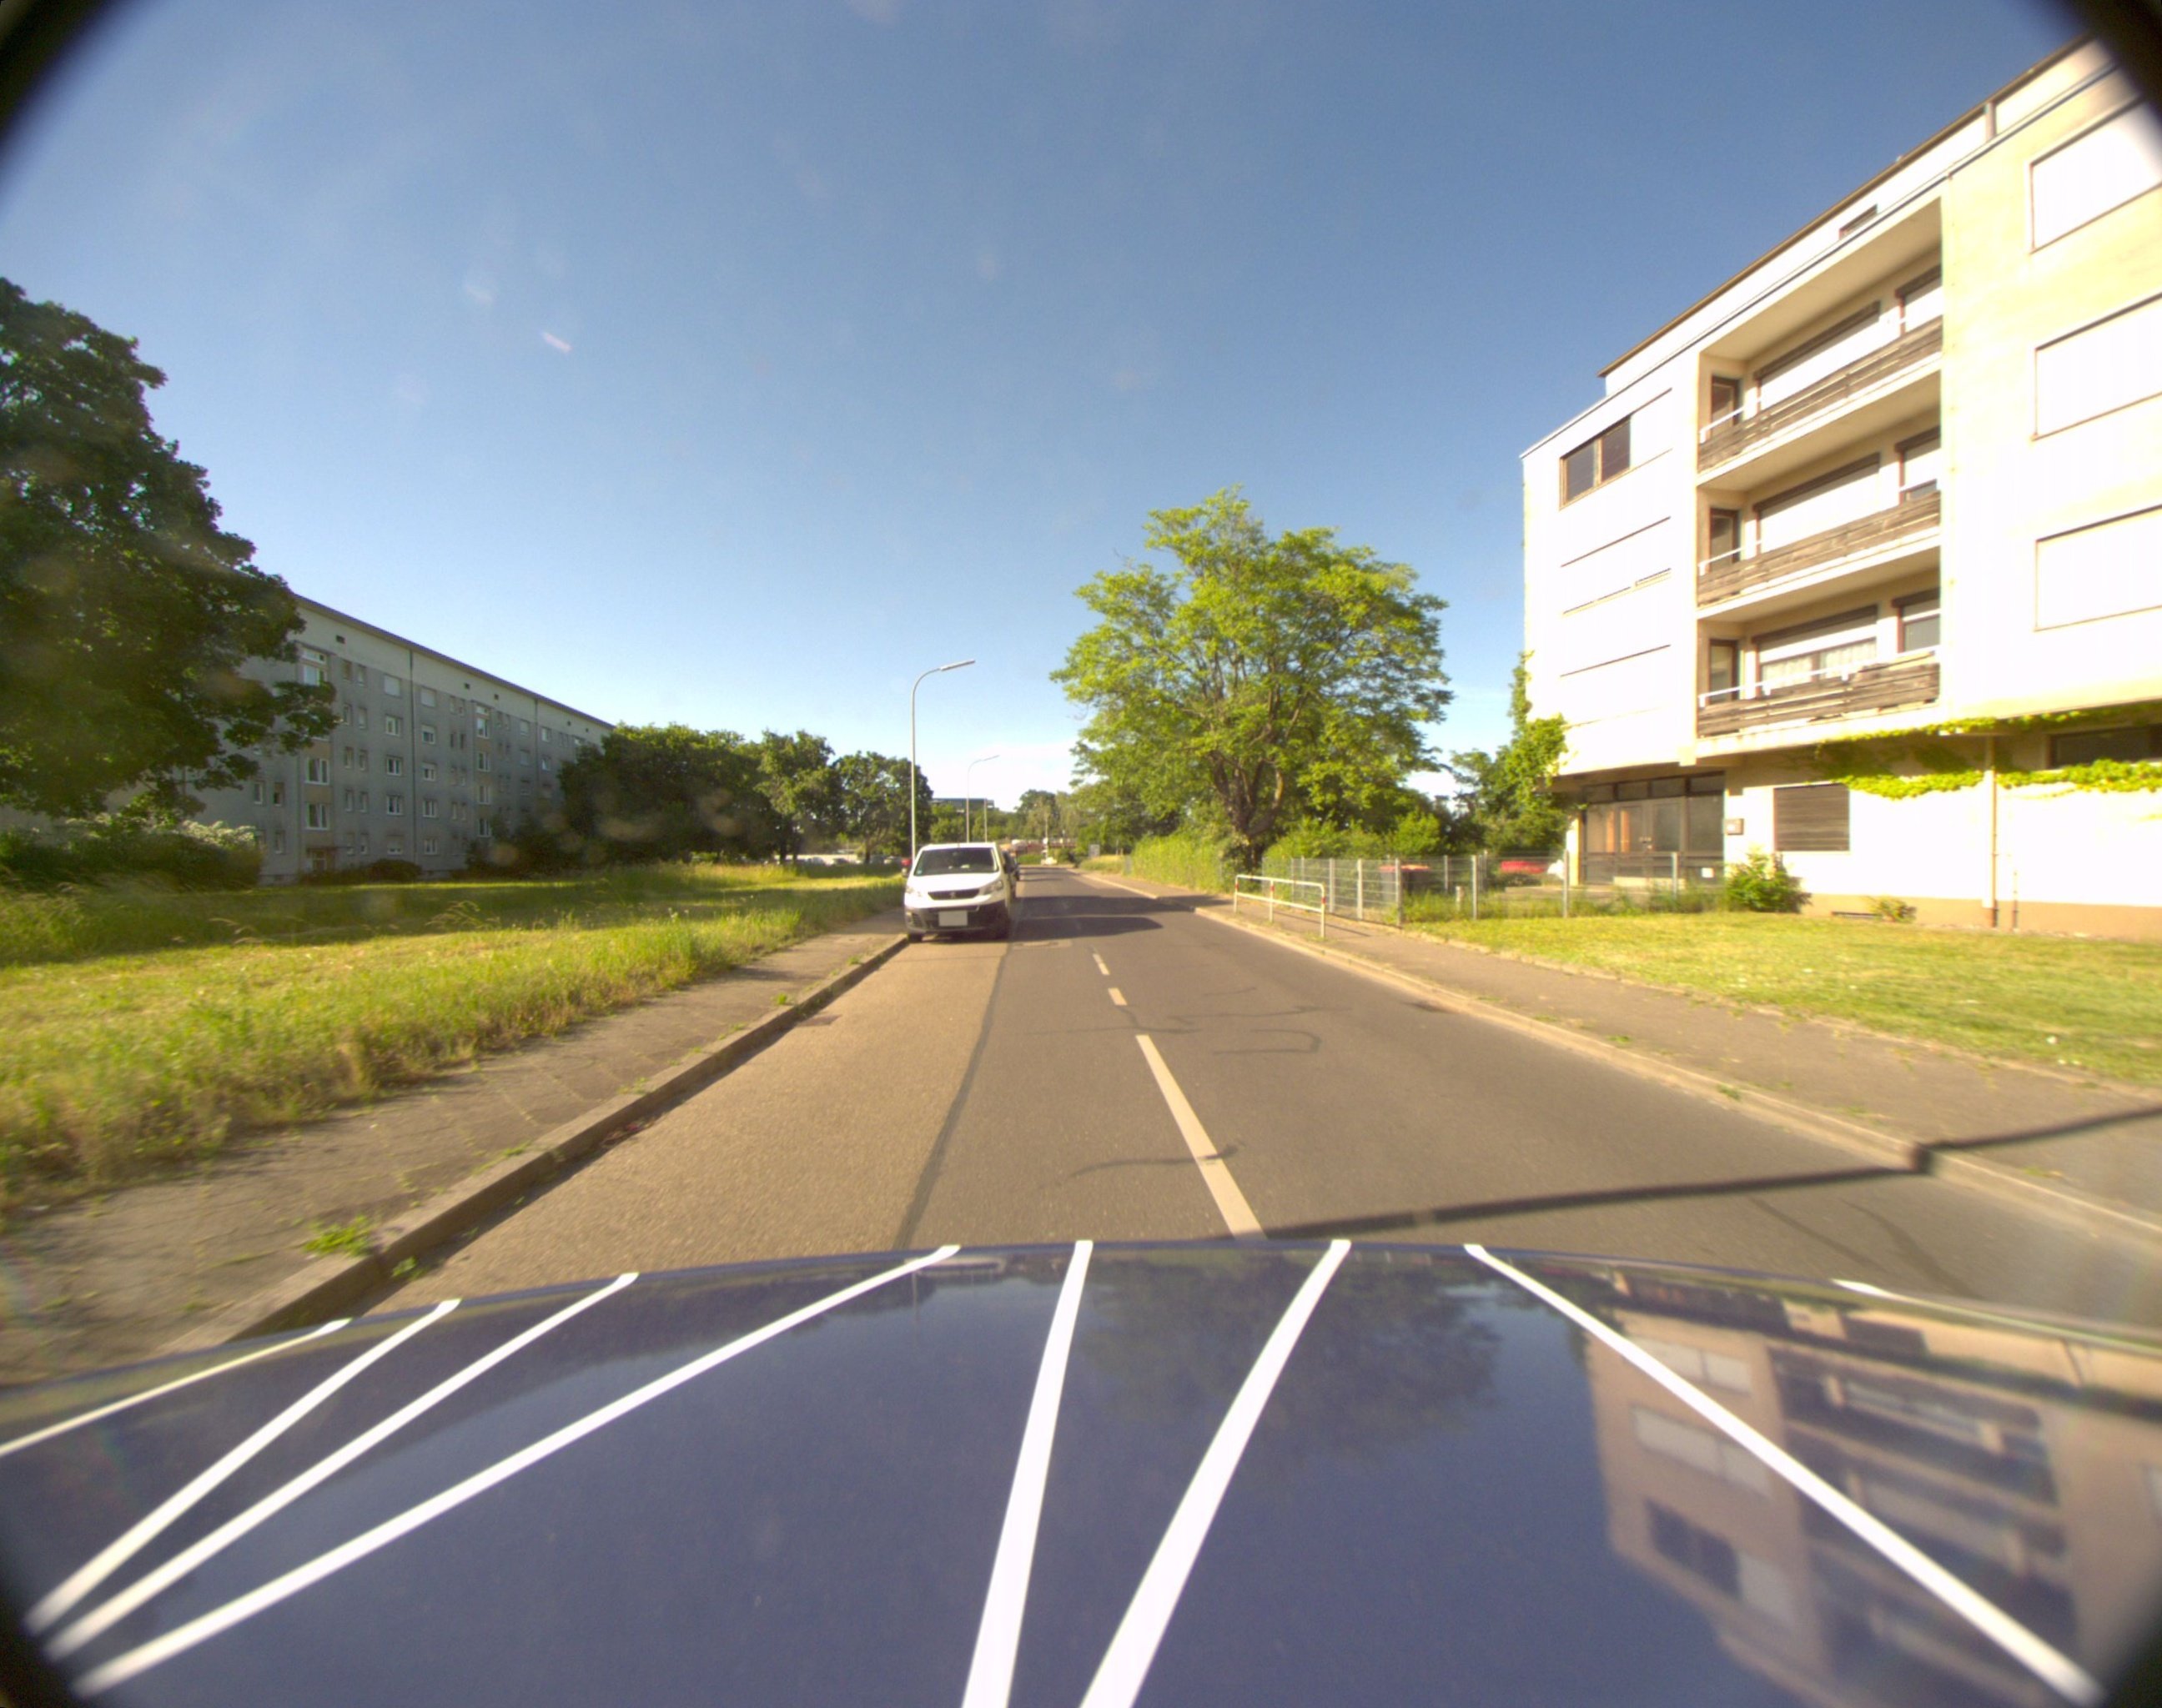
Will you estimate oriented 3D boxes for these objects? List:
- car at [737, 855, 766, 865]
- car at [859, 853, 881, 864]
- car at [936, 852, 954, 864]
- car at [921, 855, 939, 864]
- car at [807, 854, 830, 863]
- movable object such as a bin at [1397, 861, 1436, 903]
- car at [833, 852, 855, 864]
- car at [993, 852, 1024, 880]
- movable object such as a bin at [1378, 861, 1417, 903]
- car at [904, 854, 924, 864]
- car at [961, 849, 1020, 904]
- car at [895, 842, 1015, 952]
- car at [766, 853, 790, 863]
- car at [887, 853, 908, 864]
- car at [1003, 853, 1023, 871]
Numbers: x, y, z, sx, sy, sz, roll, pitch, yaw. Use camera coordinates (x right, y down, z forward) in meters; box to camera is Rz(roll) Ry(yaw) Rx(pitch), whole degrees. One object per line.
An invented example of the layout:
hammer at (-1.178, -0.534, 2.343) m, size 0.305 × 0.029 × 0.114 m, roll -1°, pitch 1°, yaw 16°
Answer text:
car at (-50.750, 0.944, 117.115) m, size 3.633 × 1.442 × 2.002 m, roll 0°, pitch 0°, yaw 13°
car at (-34.578, 0.699, 124.471) m, size 1.954 × 1.763 × 4.003 m, roll 0°, pitch 0°, yaw 9°
car at (-21.920, 0.644, 122.316) m, size 1.955 × 1.849 × 4.001 m, roll 0°, pitch 0°, yaw 4°
car at (-24.301, 0.865, 122.487) m, size 1.779 × 1.316 × 4.002 m, roll 0°, pitch 0°, yaw 6°
car at (-43.668, 0.732, 126.509) m, size 1.954 × 1.552 × 4.003 m, roll 0°, pitch 0°, yaw 9°
movable object such as a bin at (8.377, 0.690, 18.982) m, size 0.623 × 1.018 × 0.710 m, roll 0°, pitch 1°, yaw -8°
car at (-39.190, 0.665, 125.723) m, size 1.954 × 1.763 × 4.002 m, roll 0°, pitch 2°, yaw 9°
car at (-4.639, 0.726, 48.433) m, size 1.844 × 1.642 × 4.466 m, roll -2°, pitch 0°, yaw -7°
movable object such as a bin at (7.865, 0.688, 18.894) m, size 0.623 × 1.018 × 0.710 m, roll 0°, pitch 1°, yaw -8°
car at (-27.052, 0.817, 123.388) m, size 1.862 × 1.461 × 4.003 m, roll 0°, pitch 0°, yaw 9°
car at (-3.075, 0.713, 26.528) m, size 1.702 × 1.720 × 4.082 m, roll -2°, pitch 0°, yaw -2°
car at (-2.425, 0.738, 15.788) m, size 1.921 × 1.861 × 4.863 m, roll -2°, pitch 0°, yaw -4°
car at (-51.015, 0.692, 128.191) m, size 1.954 × 1.552 × 4.003 m, roll 0°, pitch 0°, yaw 9°
car at (-29.620, 0.698, 122.927) m, size 1.859 × 1.763 × 4.003 m, roll 0°, pitch 0°, yaw 9°
car at (-6.144, 0.704, 68.658) m, size 1.656 × 1.471 × 3.915 m, roll -2°, pitch 0°, yaw -4°
